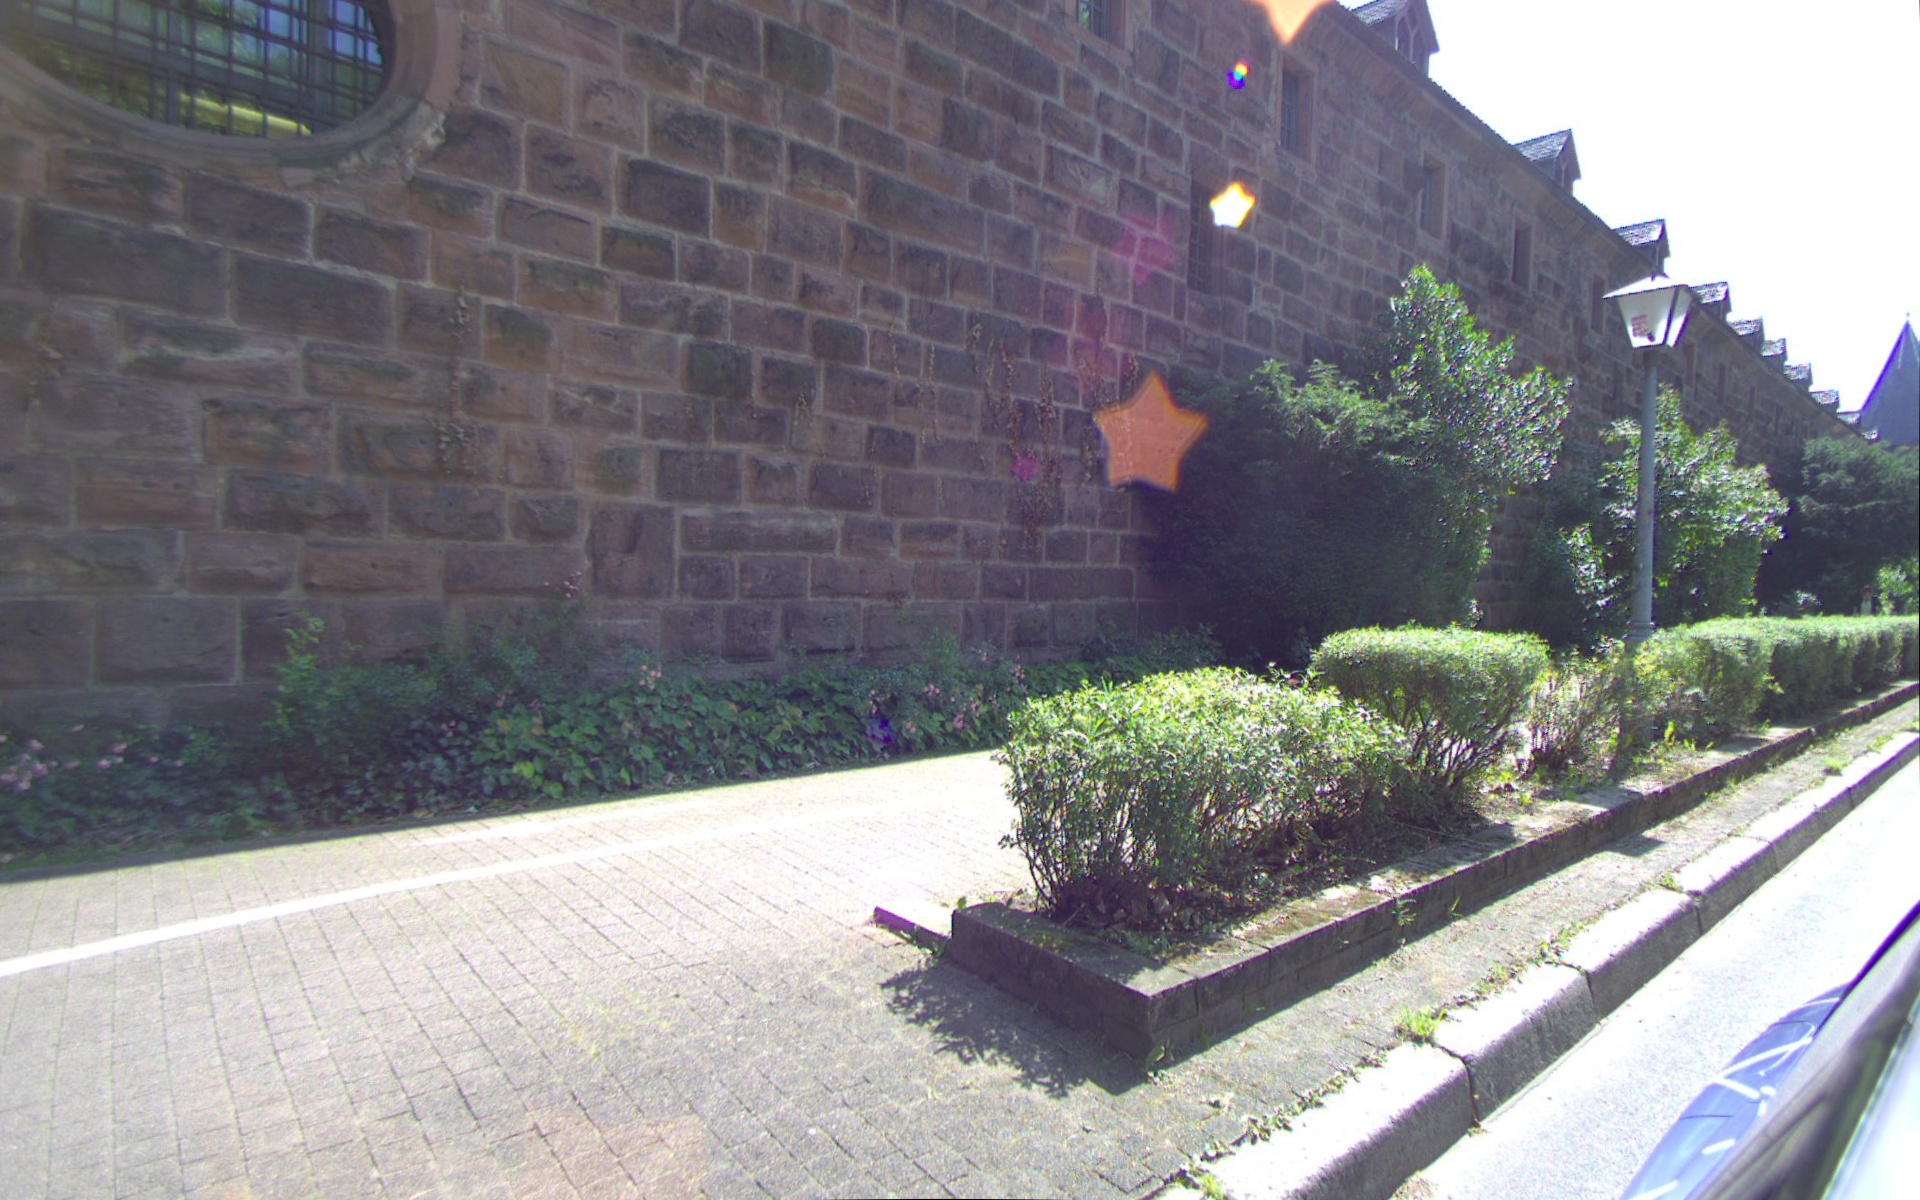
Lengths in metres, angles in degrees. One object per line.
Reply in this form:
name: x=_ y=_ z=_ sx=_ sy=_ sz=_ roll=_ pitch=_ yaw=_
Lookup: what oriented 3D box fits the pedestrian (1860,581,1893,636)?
pedestrian: x=26.932 y=0.234 z=29.734 sx=0.554 sy=1.583 sz=0.642 roll=0 pitch=0 yaw=-41
